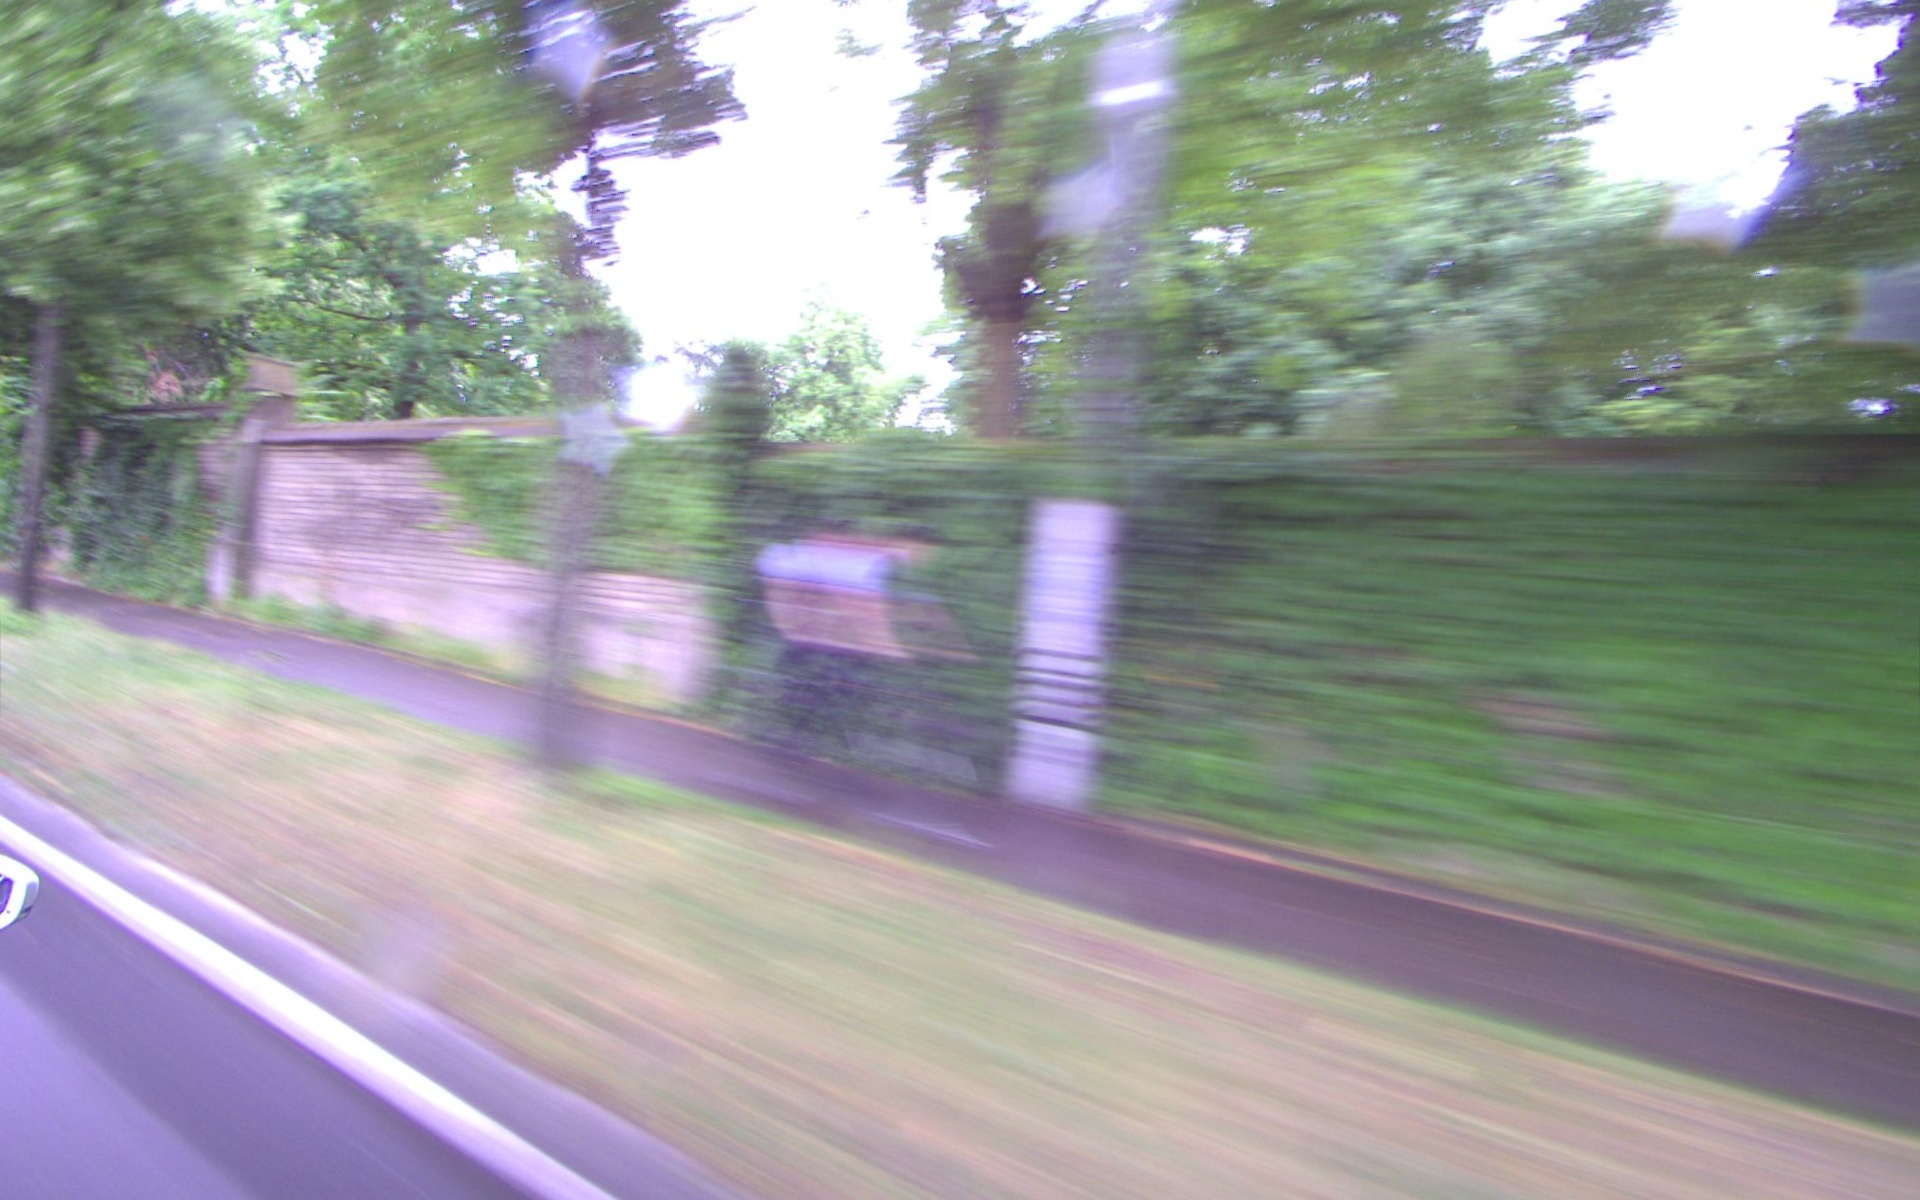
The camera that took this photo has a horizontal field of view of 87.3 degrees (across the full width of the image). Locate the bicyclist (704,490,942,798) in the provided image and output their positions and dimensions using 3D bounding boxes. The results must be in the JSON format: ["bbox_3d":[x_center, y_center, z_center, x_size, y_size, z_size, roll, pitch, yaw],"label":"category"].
[{"bbox_3d":[-0.817,0.241,6.049,0.982,1.636,0.764,8,1,31],"label":"bicyclist"}]

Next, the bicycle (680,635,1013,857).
[{"bbox_3d":[-0.738,0.804,6.007,2.063,0.913,0.408,7,1,31],"label":"bicycle"}]
